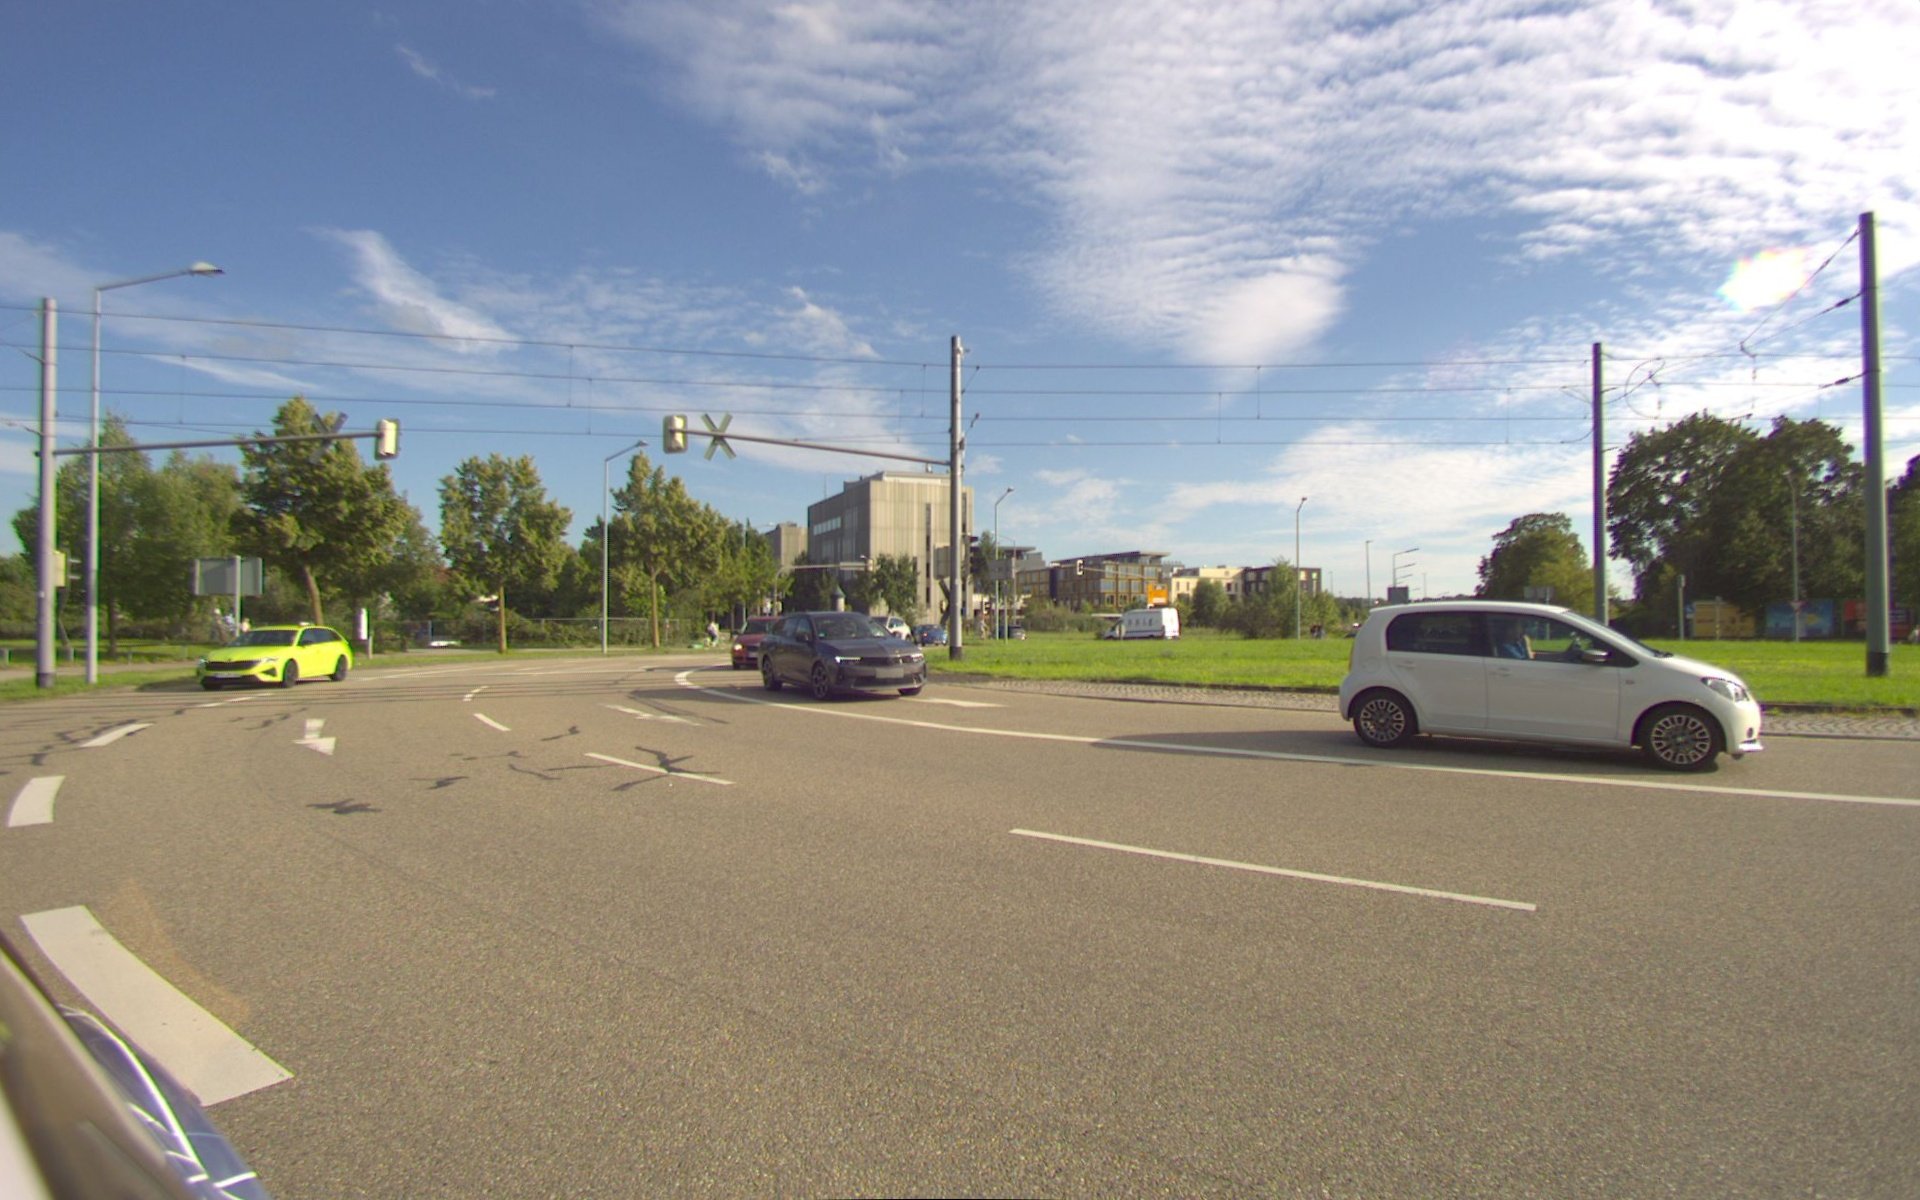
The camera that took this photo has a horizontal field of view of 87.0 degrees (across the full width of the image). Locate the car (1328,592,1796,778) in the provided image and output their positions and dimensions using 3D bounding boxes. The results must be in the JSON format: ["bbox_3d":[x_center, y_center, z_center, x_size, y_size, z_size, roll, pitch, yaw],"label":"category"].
[{"bbox_3d":[5.703,0.672,9.846,3.654,1.475,1.745,0,0,38],"label":"car"}]

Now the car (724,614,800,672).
[{"bbox_3d":[-5.624,1.183,29.194,1.669,1.486,4.231,-1,-1,-4],"label":"car"}]

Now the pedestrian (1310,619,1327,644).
[{"bbox_3d":[27.567,2.414,77.815,0.883,1.930,0.867,-2,-1,-5],"label":"pedestrian"}]

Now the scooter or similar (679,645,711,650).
[{"bbox_3d":[-17.007,3.065,64.961,1.293,0.283,1.532,-2,-2,42],"label":"scooter or similar"}]

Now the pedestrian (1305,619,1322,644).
[{"bbox_3d":[27.456,2.426,78.704,0.883,1.930,0.867,-2,-1,-5],"label":"pedestrian"}]

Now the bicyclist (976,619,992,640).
[{"bbox_3d":[1.783,2.173,74.230,0.851,1.568,1.000,0,-2,-19],"label":"bicyclist"}]

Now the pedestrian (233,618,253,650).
[{"bbox_3d":[-39.554,1.893,55.842,0.589,1.745,0.667,0,-1,5],"label":"pedestrian"}]

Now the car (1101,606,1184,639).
[{"bbox_3d":[13.421,1.686,74.831,2.034,2.281,6.031,4,-4,-42],"label":"car"}]

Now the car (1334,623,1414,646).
[{"bbox_3d":[23.837,1.978,58.339,3.989,1.275,1.664,-1,-3,39],"label":"car"}]

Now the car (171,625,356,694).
[{"bbox_3d":[-16.565,1.347,24.400,1.867,1.431,4.616,-1,-1,-9],"label":"car"}]

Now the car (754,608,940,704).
[{"bbox_3d":[-2.138,0.910,17.854,1.793,1.431,4.461,-1,-1,-27],"label":"car"}]

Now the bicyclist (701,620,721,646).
[{"bbox_3d":[-15.339,2.027,62.405,0.804,1.559,0.892,-1,-2,43],"label":"bicyclist"}]

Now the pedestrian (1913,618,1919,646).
[{"bbox_3d":[55.272,1.845,58.152,0.543,1.637,0.503,-1,-2,16],"label":"pedestrian"}]

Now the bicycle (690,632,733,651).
[{"bbox_3d":[-15.315,2.548,62.436,0.804,1.134,2.564,-1,-2,43],"label":"bicycle"}]

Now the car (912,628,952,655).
[{"bbox_3d":[-1.898,2.666,66.320,1.968,1.674,4.813,0,-1,-10],"label":"car"}]

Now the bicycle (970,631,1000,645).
[{"bbox_3d":[1.842,2.793,74.225,1.927,1.015,1.005,0,-2,-19],"label":"bicycle"}]

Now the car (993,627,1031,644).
[{"bbox_3d":[4.604,3.167,90.154,1.656,1.513,4.007,3,-3,-26],"label":"car"}]
